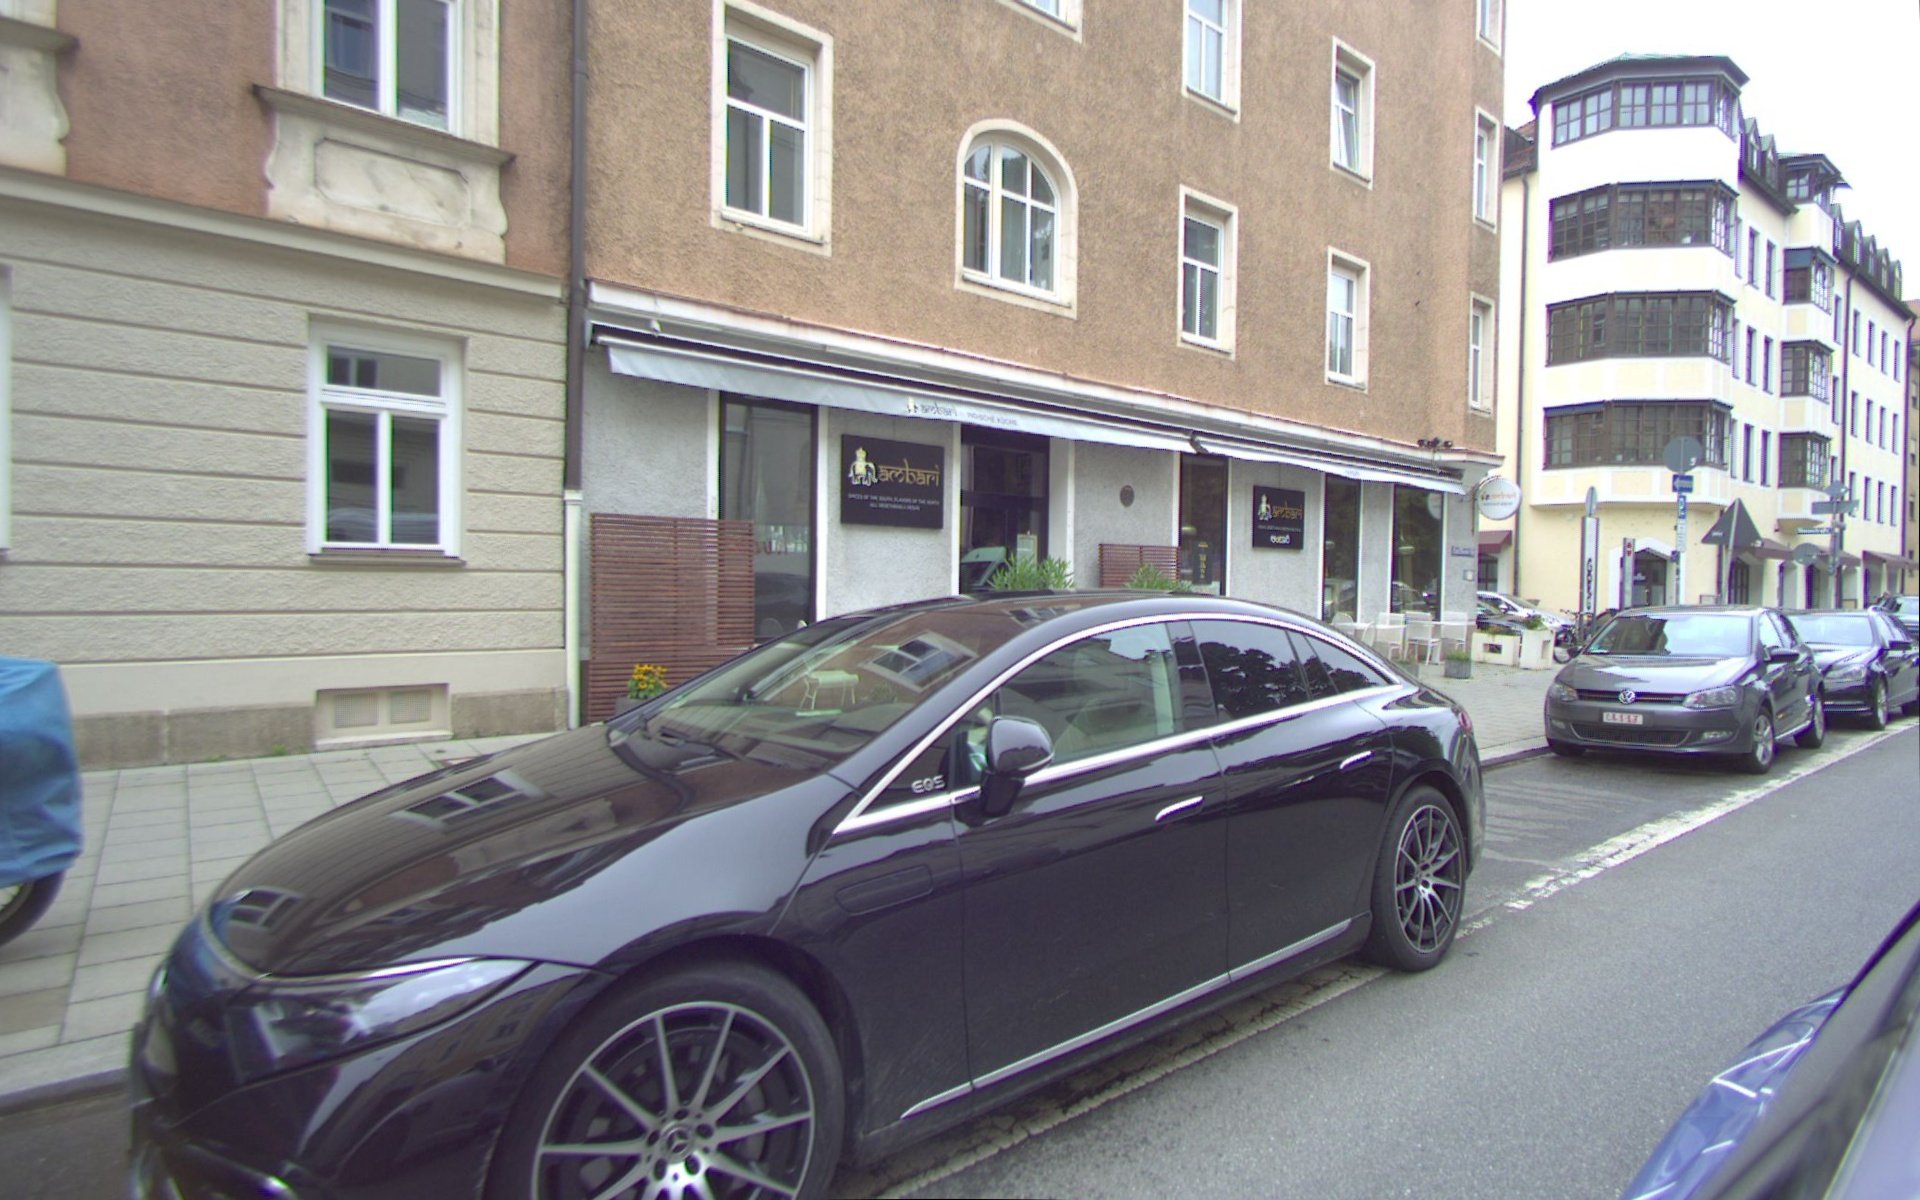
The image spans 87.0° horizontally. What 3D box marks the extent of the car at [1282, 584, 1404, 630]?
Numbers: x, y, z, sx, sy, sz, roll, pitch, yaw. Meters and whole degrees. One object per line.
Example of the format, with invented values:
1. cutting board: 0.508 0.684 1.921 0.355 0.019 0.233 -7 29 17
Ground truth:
1. car: 12.666 0.193 33.607 1.608 1.353 3.457 -1 3 -35

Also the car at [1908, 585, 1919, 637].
1. car: 32.201 0.408 32.368 4.085 1.607 1.821 -1 6 -35

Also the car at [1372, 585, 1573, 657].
1. car: 12.167 0.419 24.219 1.858 1.506 3.883 -1 2 -38

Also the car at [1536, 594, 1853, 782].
1. car: 7.310 0.685 9.917 4.109 1.411 1.575 -1 2 -40

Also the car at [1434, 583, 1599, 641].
1. car: 15.936 0.315 29.133 1.718 1.458 3.748 3 0 -34

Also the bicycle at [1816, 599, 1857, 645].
1. bicycle: 24.139 0.587 27.866 2.015 1.173 0.430 -1 3 -38

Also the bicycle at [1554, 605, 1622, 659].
1. bicycle: 12.529 0.629 20.169 1.769 1.017 0.497 2 2 -37

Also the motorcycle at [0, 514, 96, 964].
1. motorcycle: -4.128 0.465 3.283 1.960 1.523 0.874 0 1 -38

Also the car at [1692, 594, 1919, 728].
1. car: 11.456 0.655 13.278 4.702 1.422 1.851 0 1 -39

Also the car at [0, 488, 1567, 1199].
1. car: 0.203 0.623 3.826 5.537 1.572 1.934 0 1 -40

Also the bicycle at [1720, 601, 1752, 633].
1. bicycle: 24.047 0.519 31.364 1.664 0.912 0.262 -1 6 -37

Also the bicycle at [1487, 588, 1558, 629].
1. bicycle: 17.838 0.259 32.112 0.506 1.201 1.906 0 2 -37

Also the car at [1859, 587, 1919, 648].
1. car: 28.009 0.467 29.378 4.415 1.642 2.112 0 2 -38

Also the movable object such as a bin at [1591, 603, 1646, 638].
1. movable object such as a bin: 18.559 0.575 28.535 0.671 0.911 1.126 0 2 -37
